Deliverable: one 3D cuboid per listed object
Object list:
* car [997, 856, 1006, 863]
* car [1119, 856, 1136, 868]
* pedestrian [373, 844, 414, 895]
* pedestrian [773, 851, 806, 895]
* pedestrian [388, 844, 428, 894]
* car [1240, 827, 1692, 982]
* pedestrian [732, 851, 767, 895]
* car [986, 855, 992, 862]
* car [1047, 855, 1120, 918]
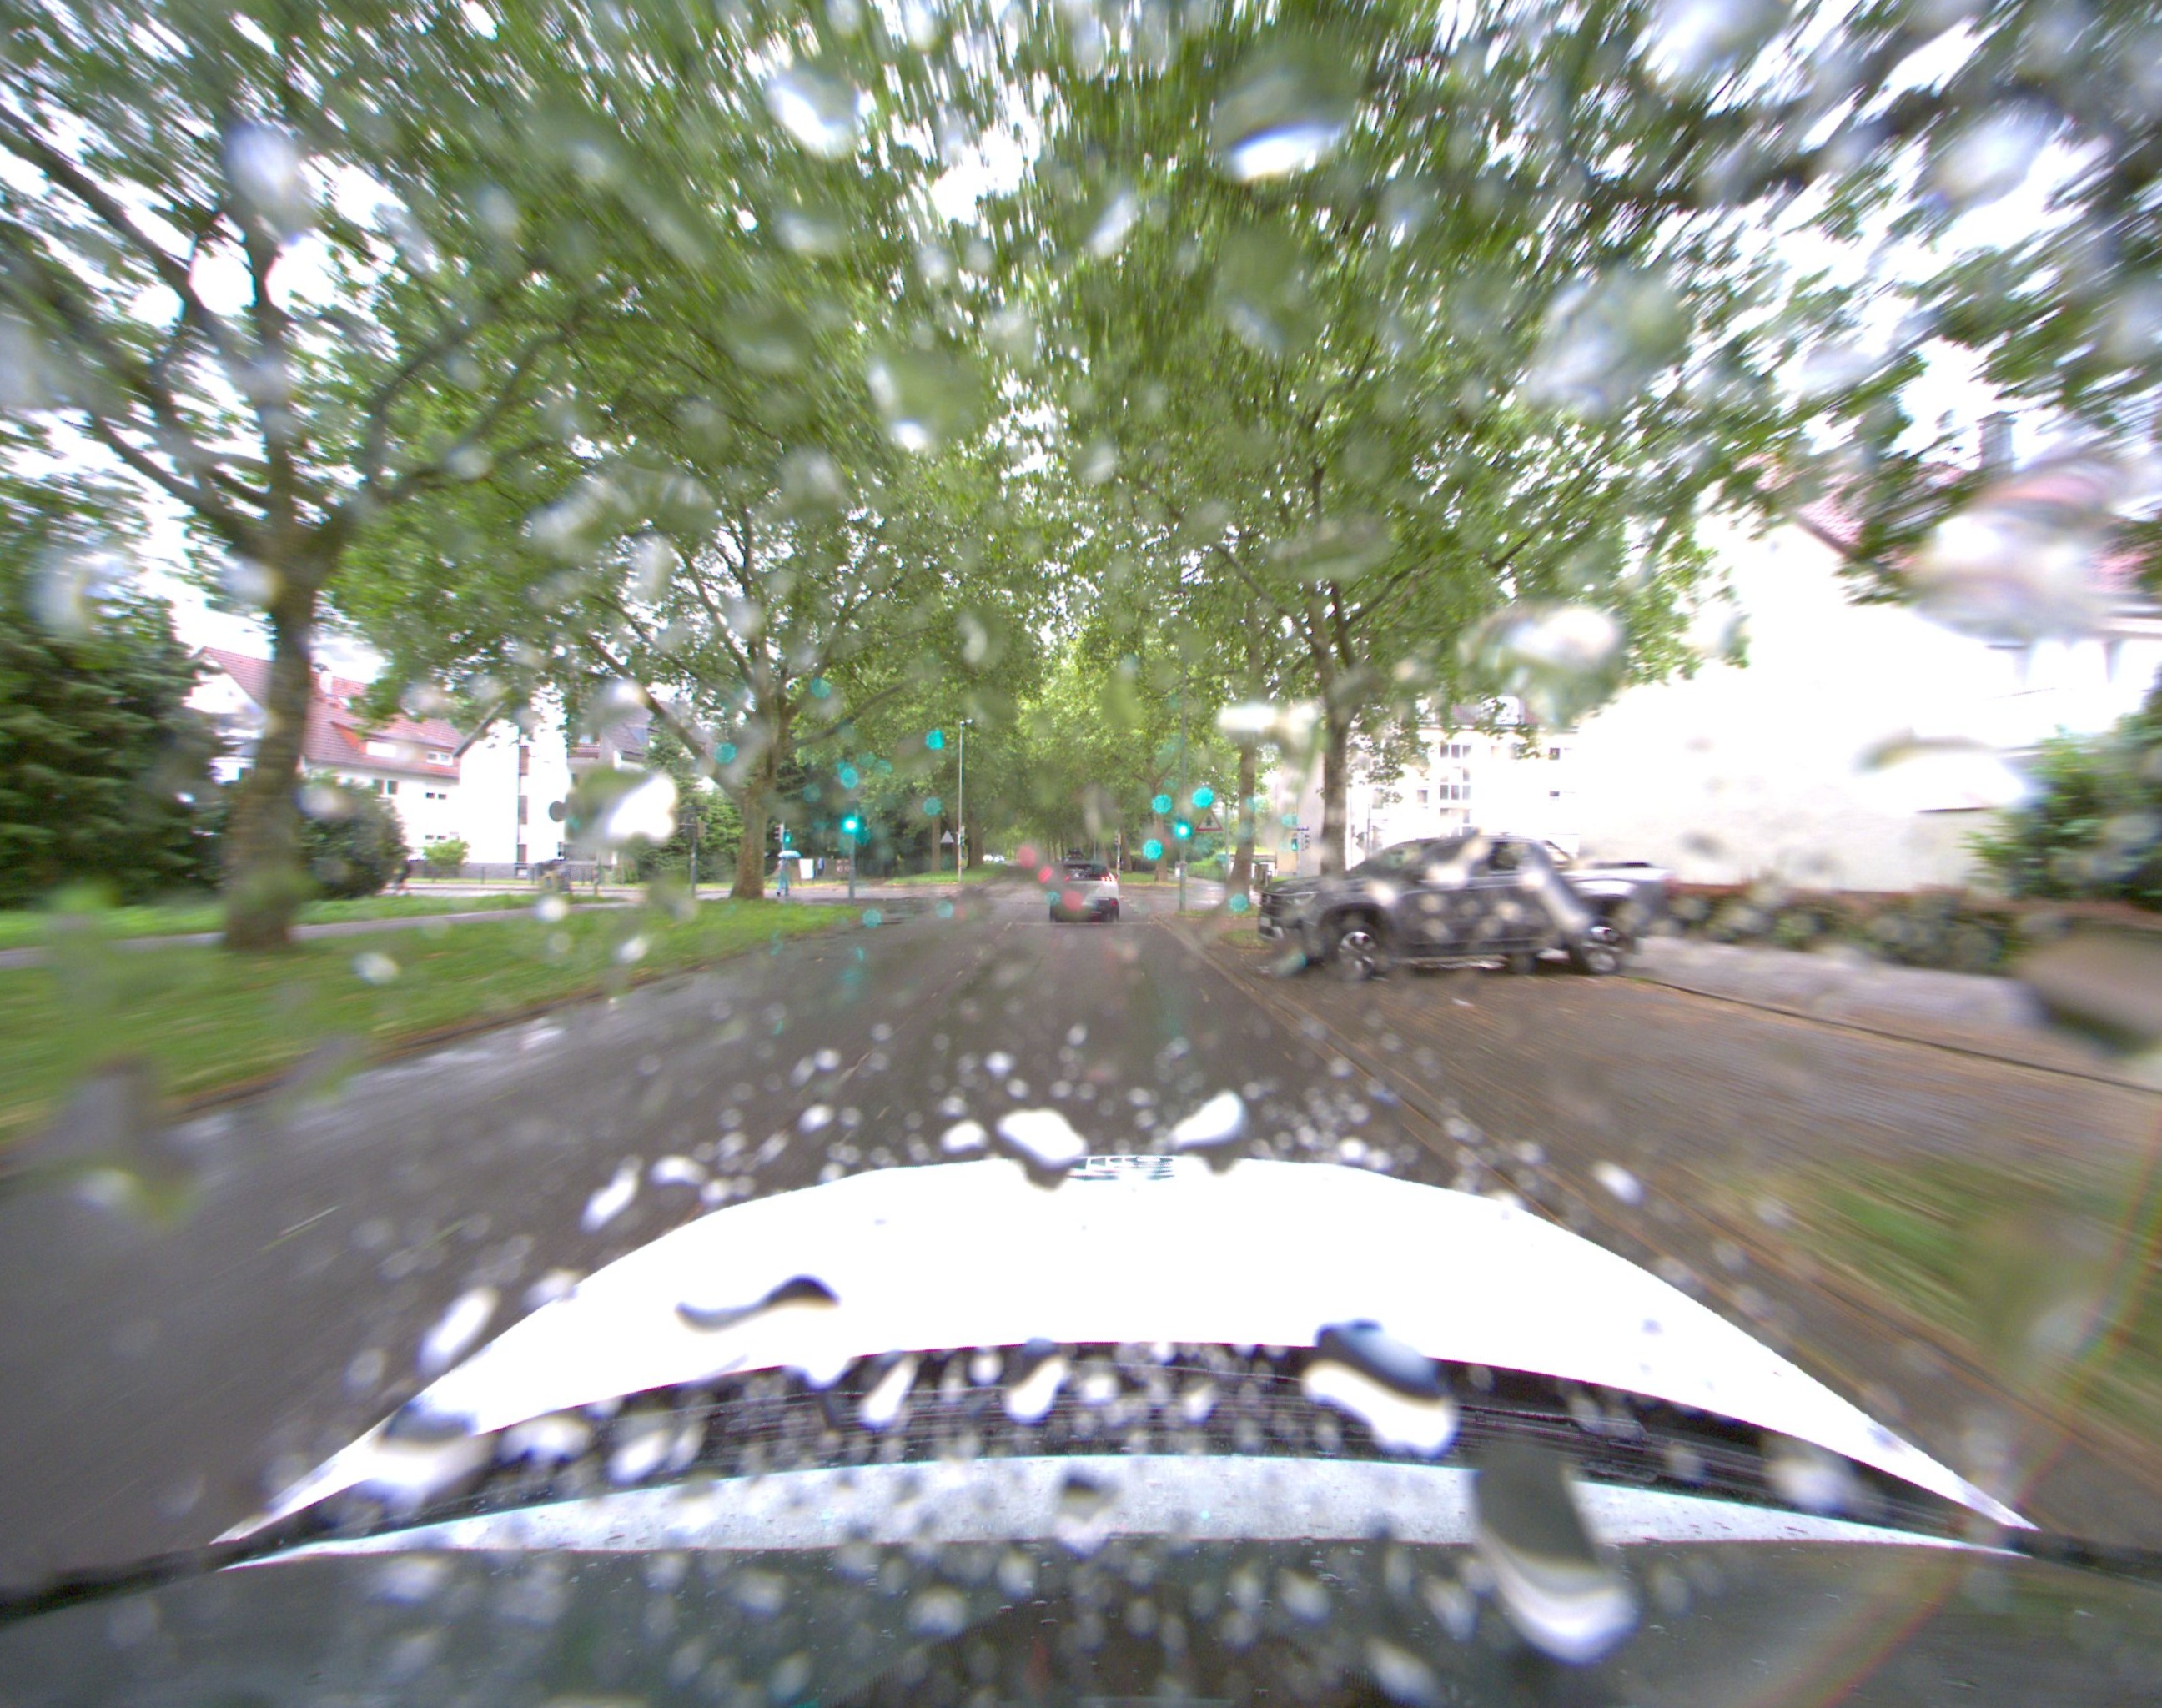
[{"bbox_3d":[-19.395,1.441,197.941,1.869,1.677,3.705,0,0,-2],"label":"car"},{"bbox_3d":[6.073,1.042,106.766,1.900,1.510,3.928,0,0,-2],"label":"car"},{"bbox_3d":[-23.452,0.523,27.772,0.818,1.744,0.639,0,-1,-1],"label":"pedestrian"},{"bbox_3d":[-11.859,0.749,33.151,1.029,1.765,0.838,0,0,1],"label":"pedestrian"},{"bbox_3d":[-23.552,0.524,28.514,0.856,1.744,0.639,0,-1,-2],"label":"pedestrian"},{"bbox_3d":[5.013,0.604,10.995,5.330,1.807,1.842,-1,0,-6],"label":"car"},{"bbox_3d":[-13.378,0.759,32.876,1.029,1.765,0.879,0,0,1],"label":"pedestrian"},{"bbox_3d":[-26.745,1.435,236.772,1.738,2.014,3.659,1,0,-3],"label":"car"},{"bbox_3d":[0.116,0.818,22.011,1.773,1.536,4.058,0,-1,1],"label":"car"}]
